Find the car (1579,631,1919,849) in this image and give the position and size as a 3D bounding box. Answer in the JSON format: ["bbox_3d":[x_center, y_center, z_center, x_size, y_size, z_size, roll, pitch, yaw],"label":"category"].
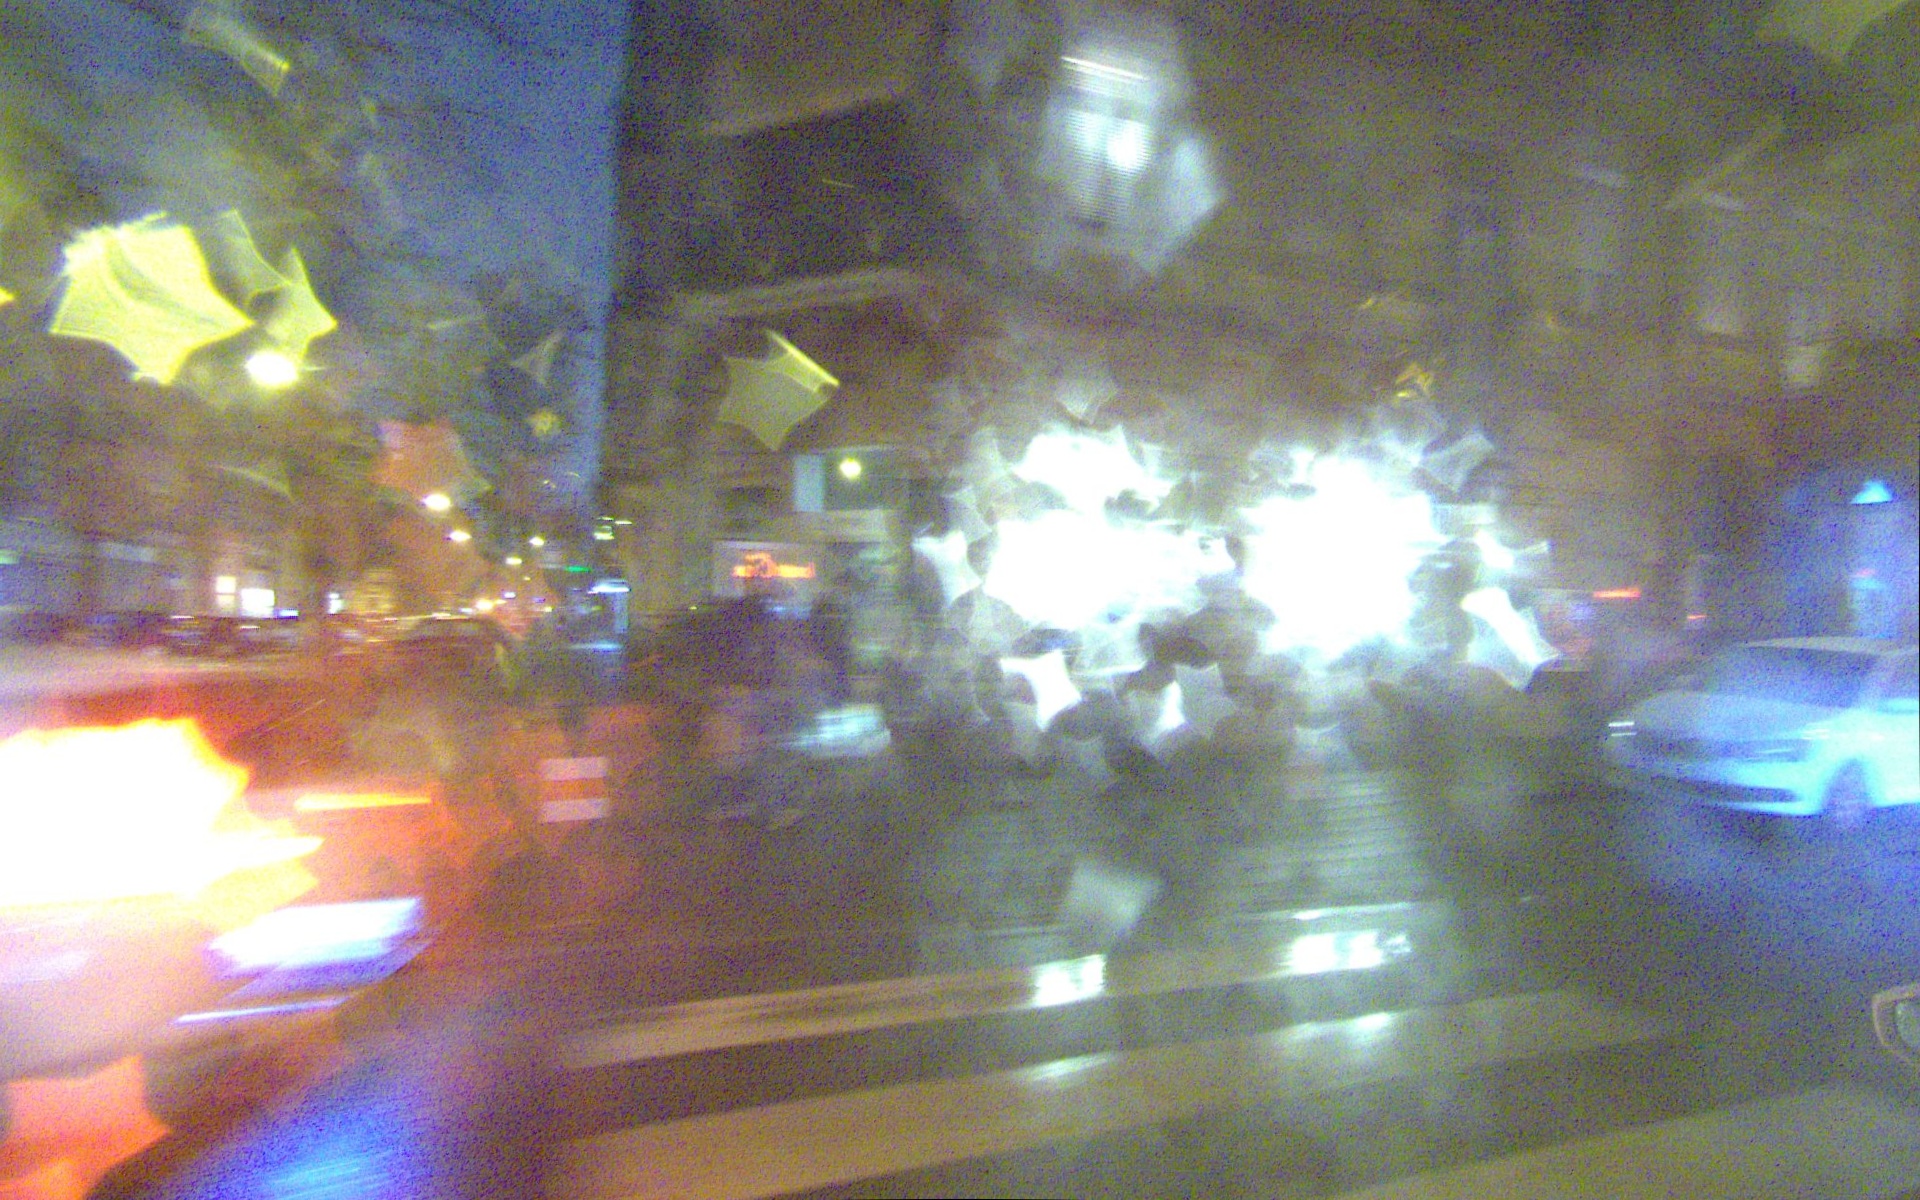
[{"bbox_3d":[7.546,1.058,8.735,3.964,1.483,1.583,1,2,-21],"label":"car"}]

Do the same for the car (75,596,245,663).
[{"bbox_3d":[-25.818,0.908,32.588,3.948,2.041,1.986,1,1,-27],"label":"car"}]

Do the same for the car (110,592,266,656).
[{"bbox_3d":[-26.652,0.802,34.841,3.948,2.041,1.986,1,1,-27],"label":"car"}]

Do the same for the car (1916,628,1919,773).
[{"bbox_3d":[11.739,1.074,10.458,2.746,1.530,1.584,1,-1,-21],"label":"car"}]

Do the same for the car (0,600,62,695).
[{"bbox_3d":[-22.956,1.007,22.319,3.936,2.040,1.992,1,0,-18],"label":"car"}]

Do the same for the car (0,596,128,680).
[{"bbox_3d":[-24.105,0.940,25.605,3.936,2.040,1.992,1,0,-18],"label":"car"}]

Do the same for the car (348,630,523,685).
[{"bbox_3d":[-13.072,1.420,25.250,3.663,1.292,1.585,0,-2,-19],"label":"car"}]

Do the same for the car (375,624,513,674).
[{"bbox_3d":[-15.211,1.427,29.768,3.408,1.422,1.585,0,-2,-19],"label":"car"}]

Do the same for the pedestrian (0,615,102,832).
[{"bbox_3d":[-8.603,1.093,9.096,0.929,1.882,0.798,0,-3,-9],"label":"pedestrian"}]

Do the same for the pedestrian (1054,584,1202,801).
[{"bbox_3d":[1.445,0.768,8.772,0.999,1.789,0.804,1,0,-15],"label":"pedestrian"}]

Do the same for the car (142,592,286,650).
[{"bbox_3d":[-27.640,0.791,37.368,3.948,2.040,1.986,1,0,-27],"label":"car"}]

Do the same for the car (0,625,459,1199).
[{"bbox_3d":[-3.856,0.817,2.899,3.995,1.446,1.566,0,-2,-9],"label":"car"}]
